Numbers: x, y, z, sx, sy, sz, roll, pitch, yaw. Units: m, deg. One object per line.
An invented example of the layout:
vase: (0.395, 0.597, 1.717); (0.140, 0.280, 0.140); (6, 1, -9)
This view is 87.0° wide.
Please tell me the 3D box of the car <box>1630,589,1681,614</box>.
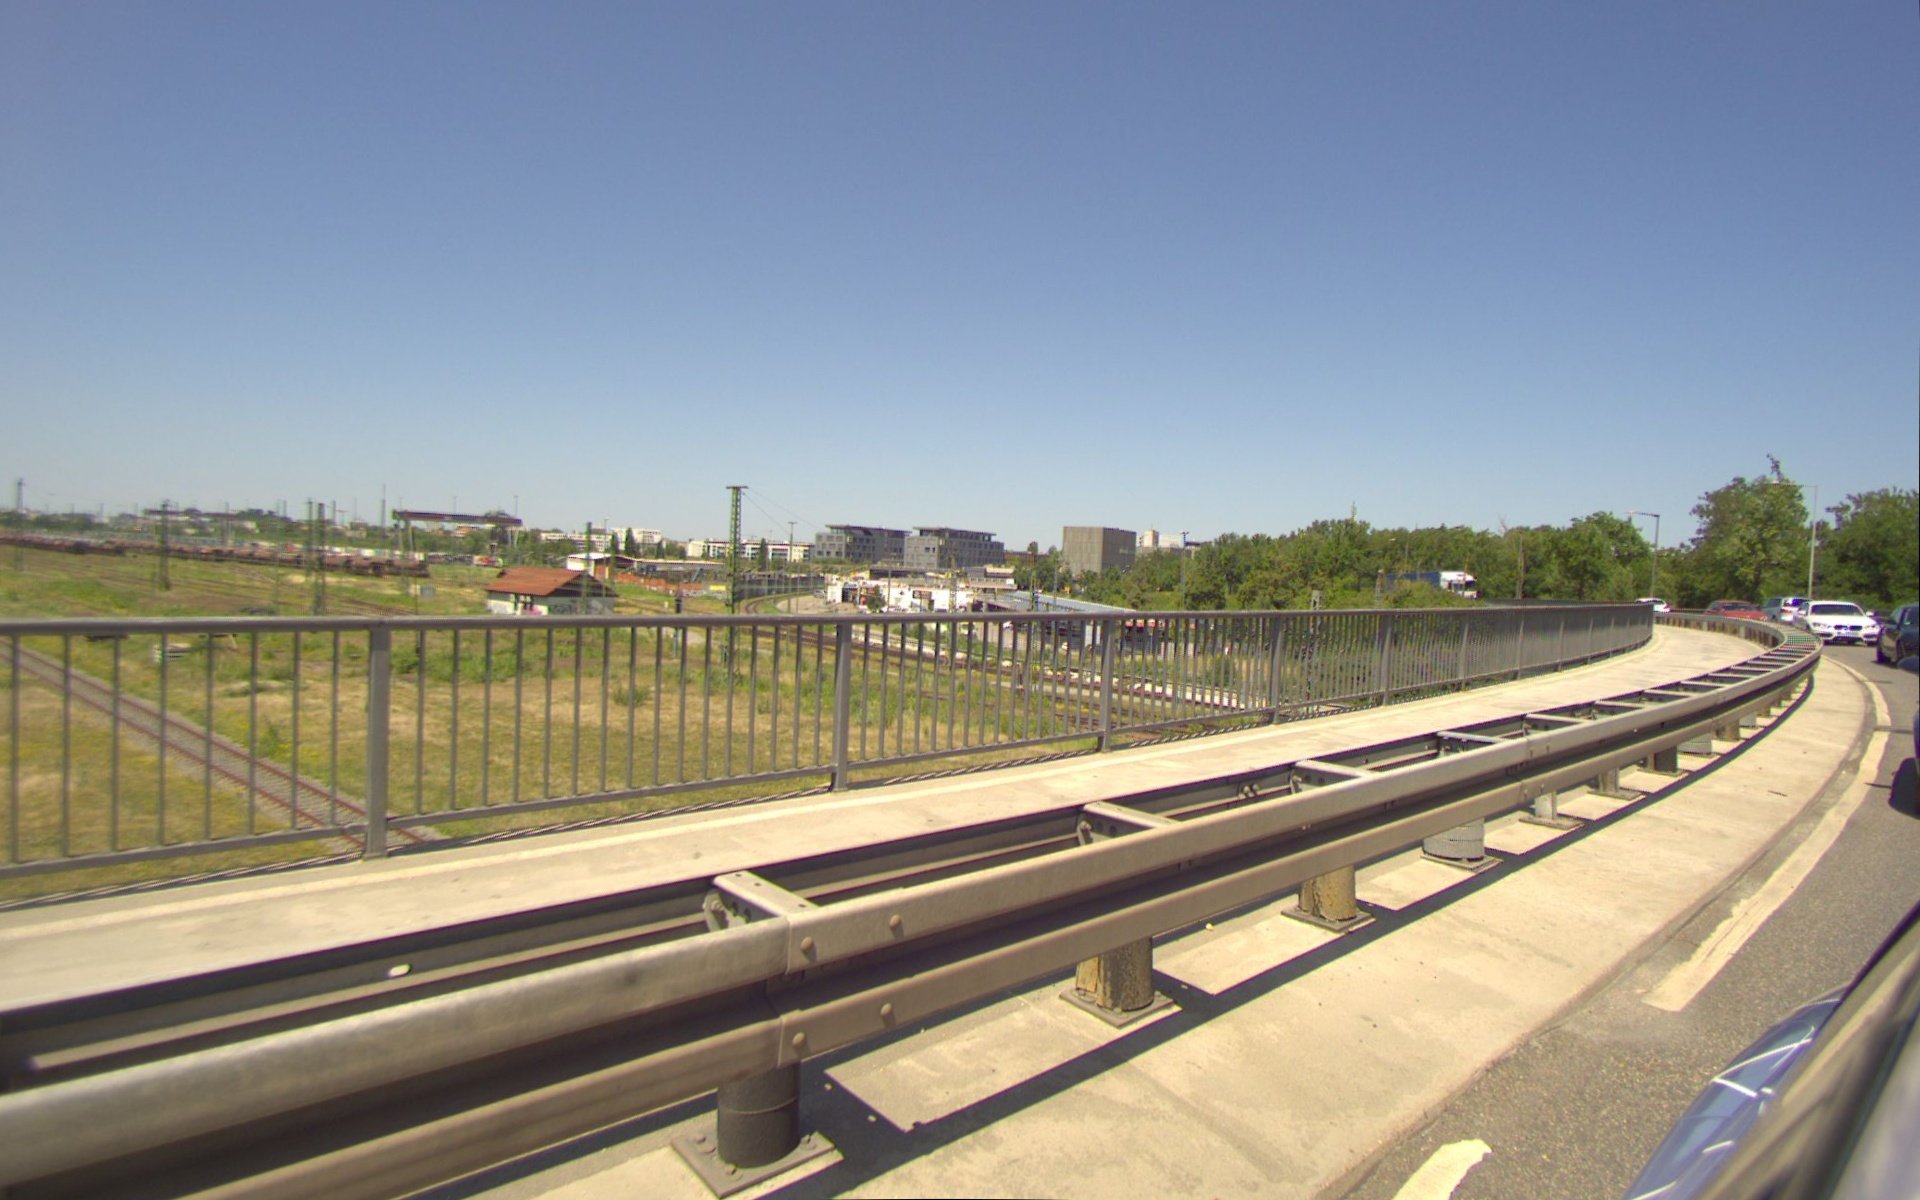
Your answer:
car: (48.841, 0.071, 71.154); (1.675, 1.627, 3.981); (1, 1, 15)

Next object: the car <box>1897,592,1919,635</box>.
car: (34.990, 0.512, 35.603); (1.763, 1.527, 4.157); (1, 1, 26)

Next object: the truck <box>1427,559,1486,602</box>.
truck: (51.122, -1.984, 104.370); (2.645, 4.282, 6.839); (-1, 0, 0)

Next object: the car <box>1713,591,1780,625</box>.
car: (37.126, 0.331, 47.877); (1.780, 1.473, 4.478); (1, 1, 29)

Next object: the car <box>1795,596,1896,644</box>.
car: (29.319, 0.604, 33.648); (1.782, 1.473, 4.472); (0, 0, 32)

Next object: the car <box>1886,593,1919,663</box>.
car: (22.134, 0.579, 22.583); (1.786, 1.473, 4.461); (0, 0, 38)

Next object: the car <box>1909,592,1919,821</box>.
car: (8.112, 0.683, 7.122); (3.929, 1.457, 1.644); (0, 0, -40)

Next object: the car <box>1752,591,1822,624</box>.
car: (42.523, 0.341, 52.121); (1.680, 1.627, 3.969); (1, 1, 23)

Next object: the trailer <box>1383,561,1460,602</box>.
trailer: (51.058, -2.019, 112.455); (2.651, 4.288, 12.714); (-1, 0, 0)
